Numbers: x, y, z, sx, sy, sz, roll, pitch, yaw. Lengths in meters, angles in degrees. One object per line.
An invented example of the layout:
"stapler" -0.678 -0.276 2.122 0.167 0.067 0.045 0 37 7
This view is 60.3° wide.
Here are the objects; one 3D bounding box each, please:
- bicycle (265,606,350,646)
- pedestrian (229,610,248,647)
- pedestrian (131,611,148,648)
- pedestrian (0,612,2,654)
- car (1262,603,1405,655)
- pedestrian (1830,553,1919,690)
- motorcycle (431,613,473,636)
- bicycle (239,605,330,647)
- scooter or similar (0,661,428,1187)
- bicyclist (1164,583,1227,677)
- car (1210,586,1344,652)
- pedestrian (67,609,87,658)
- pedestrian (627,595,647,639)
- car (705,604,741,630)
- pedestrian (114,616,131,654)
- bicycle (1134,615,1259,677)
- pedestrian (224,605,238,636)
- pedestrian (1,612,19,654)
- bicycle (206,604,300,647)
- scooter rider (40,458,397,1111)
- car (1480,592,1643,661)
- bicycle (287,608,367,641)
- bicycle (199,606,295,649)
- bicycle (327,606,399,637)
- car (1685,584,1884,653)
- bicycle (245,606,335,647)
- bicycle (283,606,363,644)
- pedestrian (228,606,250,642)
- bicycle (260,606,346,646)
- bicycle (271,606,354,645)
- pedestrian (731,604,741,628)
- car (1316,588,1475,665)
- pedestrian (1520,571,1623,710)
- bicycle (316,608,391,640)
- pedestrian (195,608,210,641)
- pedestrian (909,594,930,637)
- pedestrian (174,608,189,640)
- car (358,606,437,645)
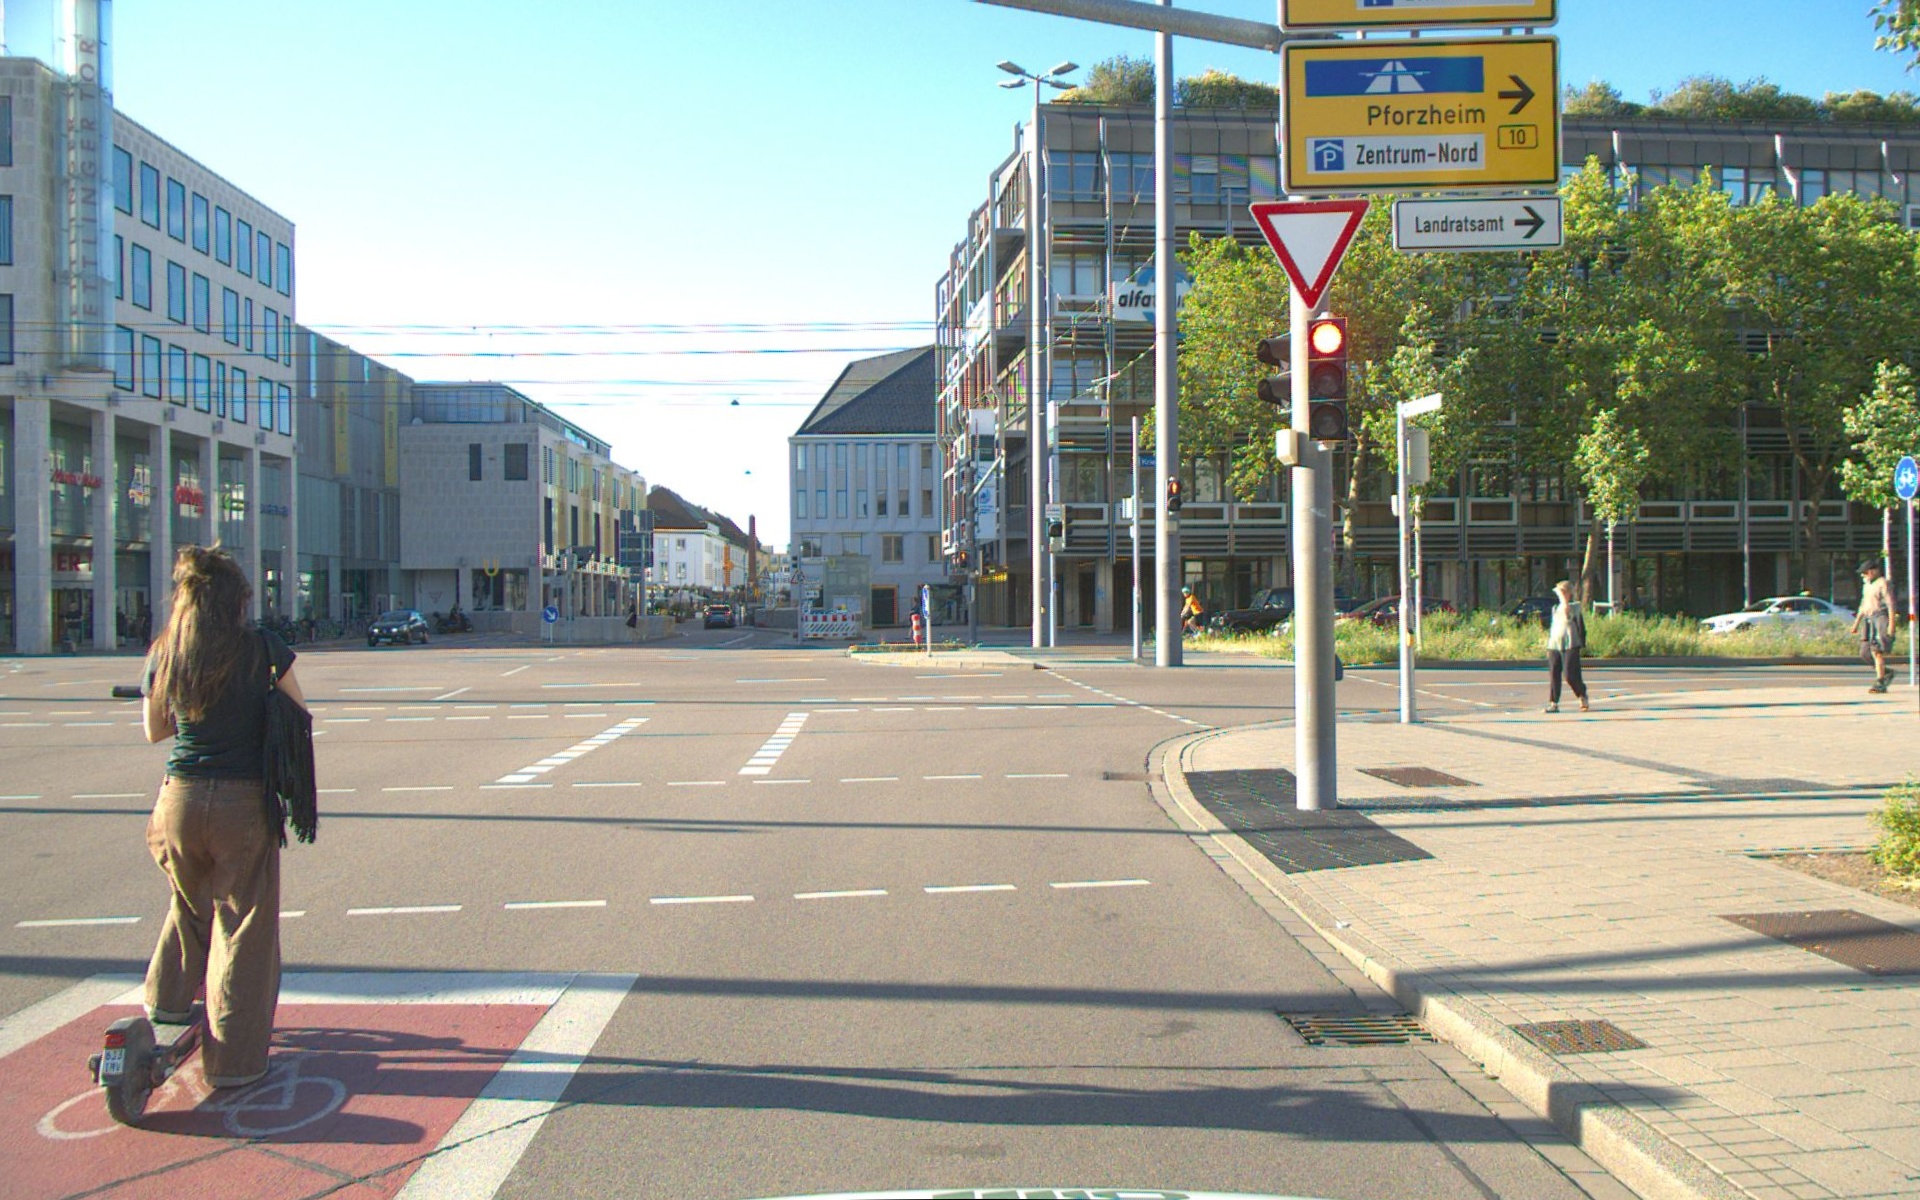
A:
"bicycle" -29.798 1.181 75.584 3.430 1.726 0.984 -1 0 -12
"pedestrian" -32.936 1.296 75.490 0.641 1.671 0.693 -1 0 -9
"pedestrian" -34.849 1.249 70.223 0.472 1.537 0.513 -1 0 -5
"pedestrian" -37.039 1.266 63.368 0.420 1.613 0.498 -1 0 -5
"car" 11.438 0.868 50.816 3.908 1.534 1.867 1 0 -4
"pedestrian" 12.138 0.274 21.839 0.682 1.759 0.939 -1 0 -14
"motorcycle" -29.975 1.441 97.594 2.230 1.341 0.719 -1 0 -6
"bicycle" -28.869 1.090 70.715 3.427 1.726 1.114 -1 0 -10
"scooter or similar" -2.190 0.824 4.889 0.713 1.223 1.664 0 0 -1
"bicyclist" 6.716 0.836 47.224 1.539 2.625 0.930 -1 0 -10
"car" 10.303 0.603 53.920 3.908 2.049 1.999 1 0 -3
"pedestrian" -30.935 1.165 57.944 0.532 1.671 0.547 -1 0 -19
"pedestrian" -12.528 0.640 64.103 0.650 1.687 0.755 -1 0 -4
"car" -15.496 1.104 108.165 2.157 1.635 4.320 -1 0 -6
"pedestrian" -35.193 1.470 69.511 0.472 1.613 0.513 -1 0 -5
"bicycle" 6.746 1.305 47.223 3.427 1.688 0.929 -1 0 -10
"pedestrian" -36.151 1.014 82.015 0.472 1.537 0.513 -1 0 -5
"pedestrian" -36.565 1.276 63.667 0.420 1.613 0.498 -1 0 -5
"bicycle" -29.548 1.052 69.181 3.427 1.726 1.114 -1 0 -10
"scooter rider" -2.190 0.510 4.988 0.713 1.806 0.811 0 0 -1
"car" 18.825 0.826 51.880 4.359 2.049 1.998 1 0 -6
"bicycle" -30.542 1.174 79.859 3.430 1.554 0.984 -1 0 -12
"bicycle" -29.323 1.115 68.035 3.427 1.726 1.114 -1 0 -10
"bicycle" -31.072 1.124 86.130 3.430 1.554 0.984 -1 0 -12
"car" 26.170 0.585 52.575 5.332 2.049 2.096 1 0 -3
"bicycle" -29.099 1.126 71.927 3.427 1.726 1.114 -1 0 -10
"bicycle" -30.338 1.191 78.869 3.430 1.726 0.984 -1 0 -12
"pedestrian" -34.230 1.135 78.513 0.770 1.671 0.693 -1 0 -11
"bicycle" -29.574 1.171 74.496 3.430 1.726 0.984 -1 0 -12
"bicycle" -30.039 1.182 76.784 3.430 1.726 0.984 -1 0 -12
"pedestrian" -13.623 0.955 100.716 0.598 1.436 0.569 -1 0 -7
"car" 12.229 0.737 46.579 3.908 2.049 1.999 1 0 -3
"pedestrian" 7.496 0.485 20.304 0.787 1.658 0.939 -1 0 -14
"bicycle" -30.884 1.216 84.269 3.430 1.554 0.984 -1 0 -12
"pedestrian" -35.971 1.147 78.529 0.472 1.537 0.513 -1 0 -5
"pedestrian" -1.590 0.605 64.728 0.715 1.687 0.649 -1 0 -8
"pedestrian" -36.725 1.131 78.032 0.472 1.537 0.513 -1 0 -5
"car" -23.516 1.044 69.306 1.953 1.512 3.999 -1 0 -1
